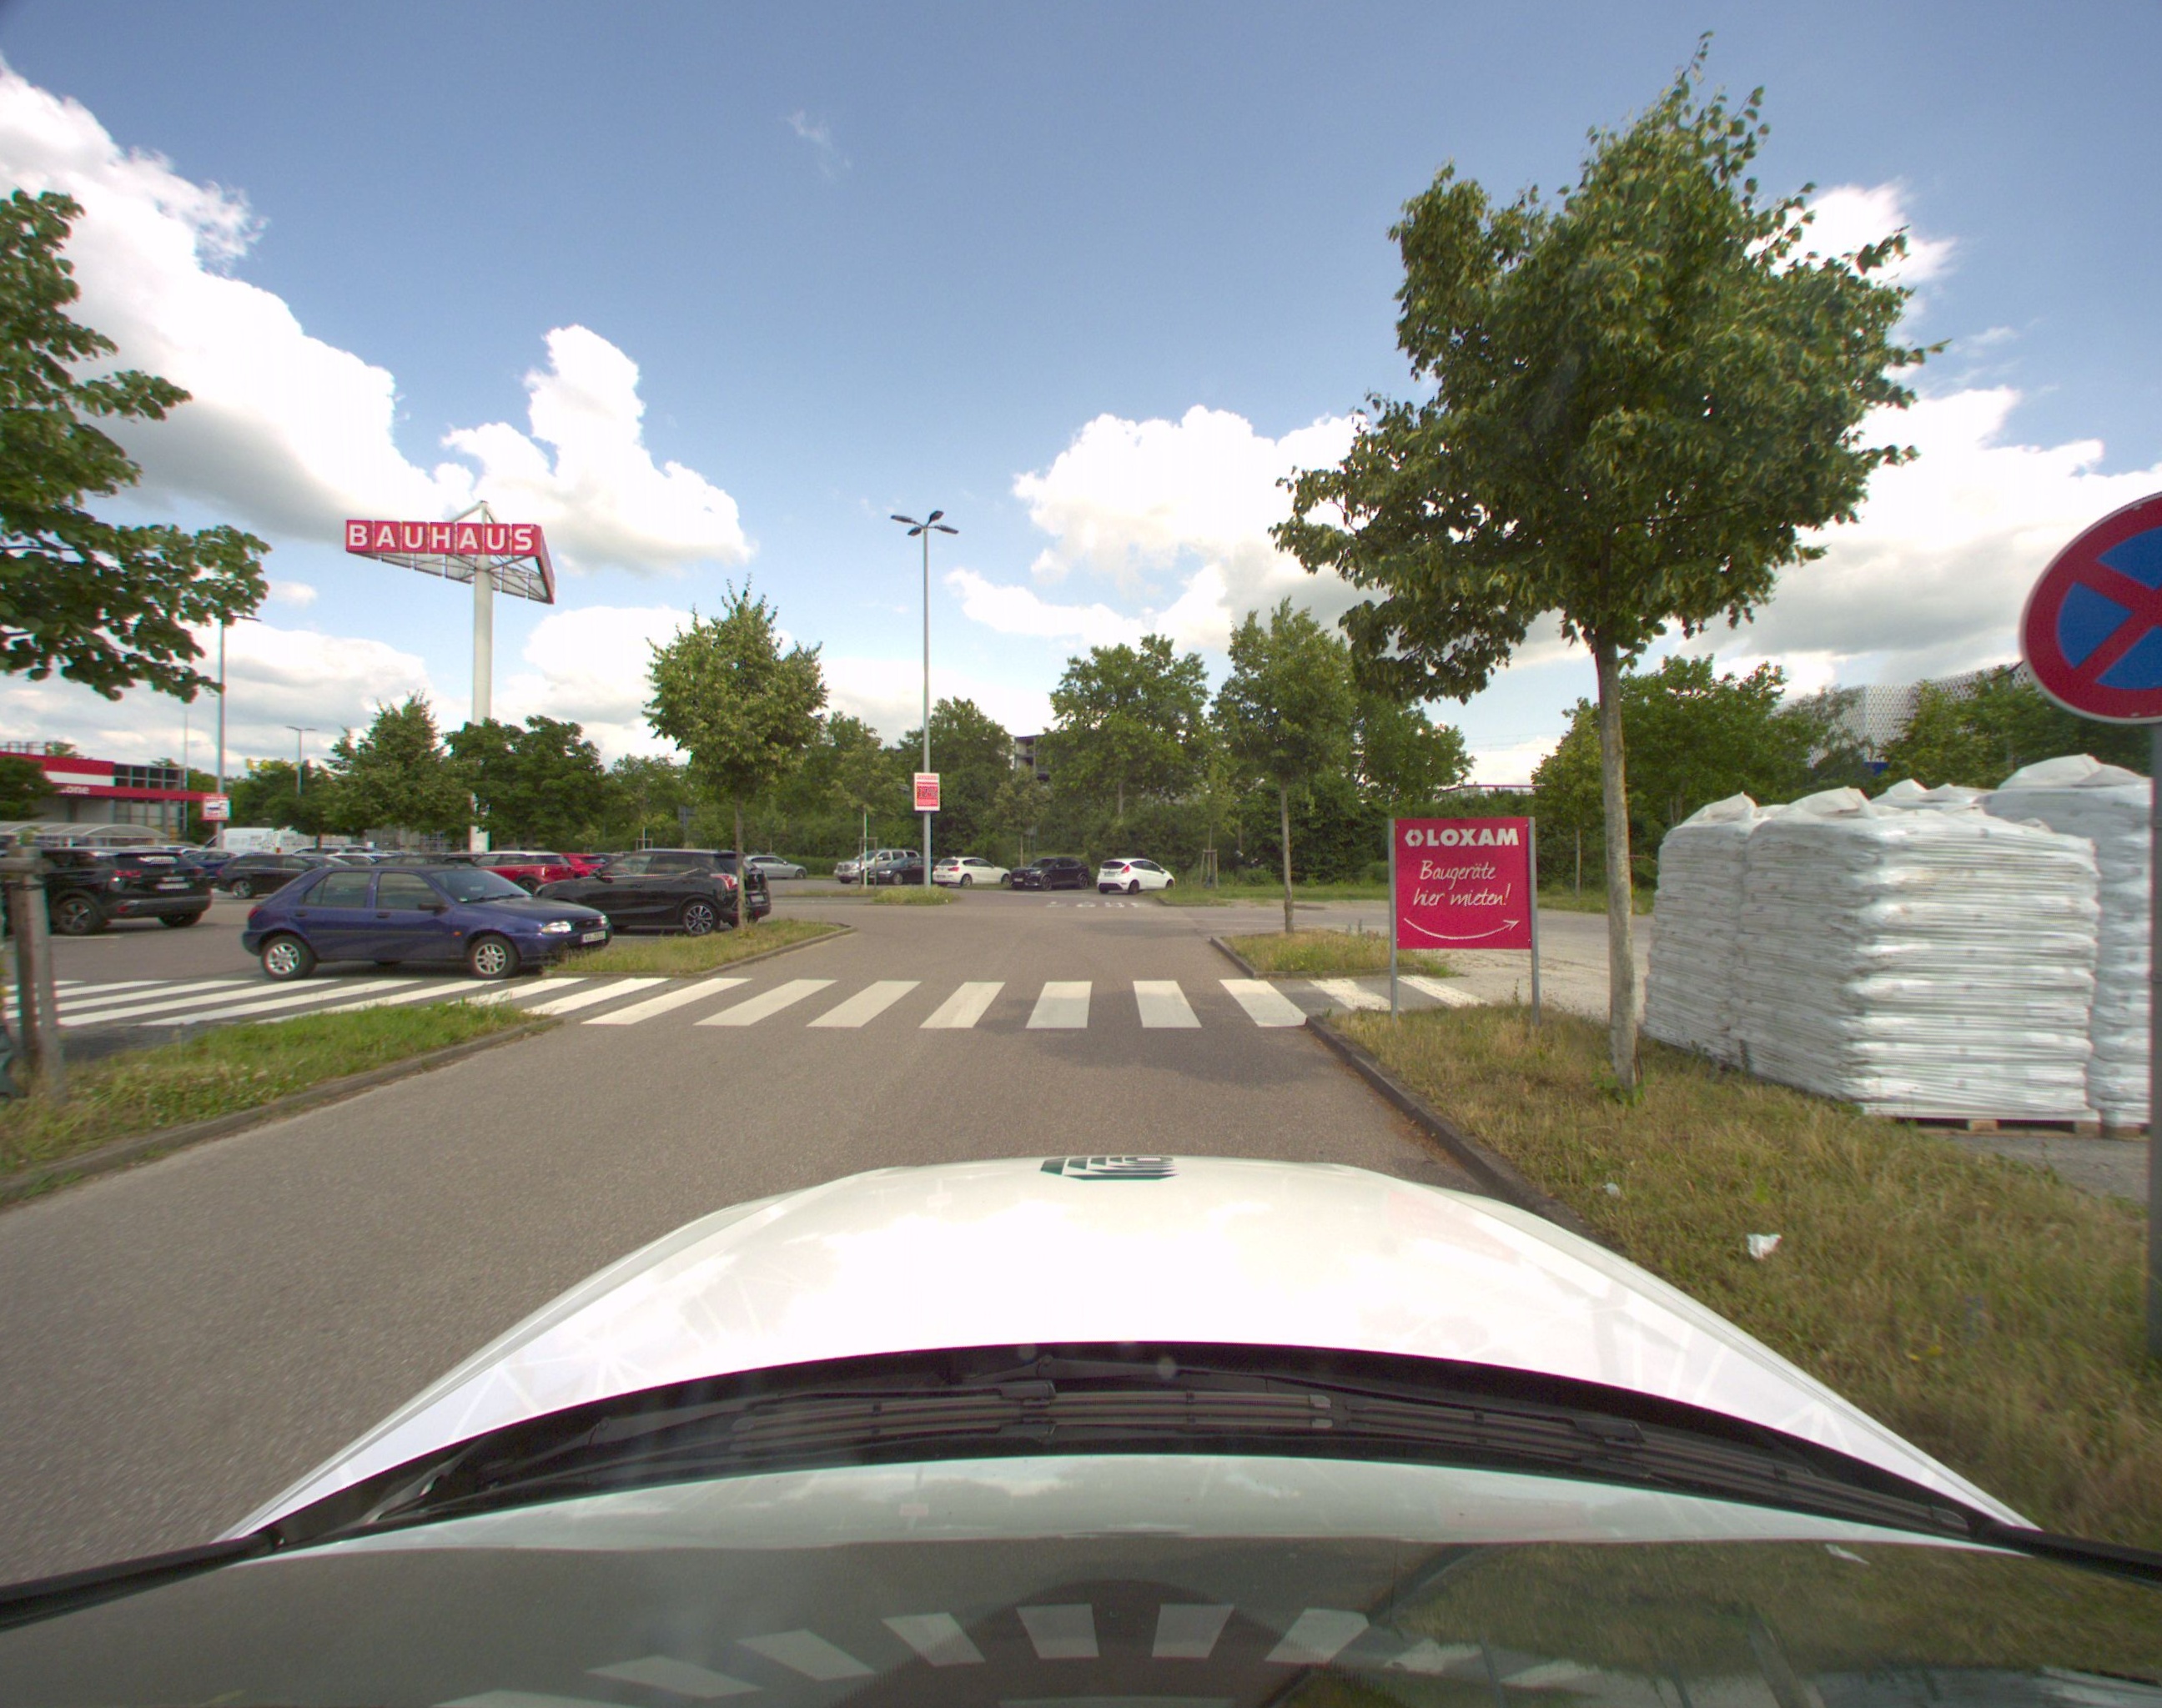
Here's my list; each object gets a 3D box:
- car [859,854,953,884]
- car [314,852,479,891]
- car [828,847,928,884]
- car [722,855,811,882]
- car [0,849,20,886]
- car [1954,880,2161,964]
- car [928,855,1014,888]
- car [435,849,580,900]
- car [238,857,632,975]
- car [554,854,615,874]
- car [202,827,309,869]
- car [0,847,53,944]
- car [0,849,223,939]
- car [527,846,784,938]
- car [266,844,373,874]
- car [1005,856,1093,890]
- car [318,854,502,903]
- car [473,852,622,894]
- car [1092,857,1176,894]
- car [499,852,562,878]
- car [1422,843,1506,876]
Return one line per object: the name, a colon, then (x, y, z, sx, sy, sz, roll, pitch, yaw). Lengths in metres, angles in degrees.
car: (-8.975, 0.749, 42.188, 1.816, 1.451, 4.755, 0, 0, 37)
car: (-24.517, 0.603, 29.288, 4.255, 1.353, 1.893, 0, 0, -2)
car: (-10.803, 0.573, 43.729, 1.965, 1.842, 5.181, 0, 0, 35)
car: (-18.577, 0.810, 48.285, 1.761, 1.504, 4.684, 0, 0, 35)
car: (-53.411, 0.647, 38.948, 3.146, 1.743, 1.602, 0, 1, 0)
car: (18.374, 1.172, 14.351, 3.741, 1.321, 1.621, 0, 0, 24)
car: (-5.244, 0.816, 39.240, 1.668, 1.509, 4.107, -1, -1, 39)
car: (-18.476, 0.644, 26.337, 3.425, 1.581, 1.709, 0, 0, -1)
car: (-8.074, 0.735, 10.421, 3.737, 1.368, 1.622, 0, 0, 1)
car: (-38.321, 0.765, 62.944, 1.612, 1.468, 3.667, -2, -1, 36)
car: (-53.083, -0.367, 52.418, 4.696, 2.510, 2.053, 1, -1, 1)
car: (-19.939, 0.692, 13.346, 3.688, 1.624, 1.781, 0, 0, -4)
car: (-19.474, 0.714, 15.621, 4.058, 1.624, 1.783, 0, 0, -1)
car: (-7.941, 0.671, 15.436, 3.933, 1.624, 1.737, 0, 0, 3)
car: (-41.710, 0.279, 44.674, 3.975, 1.596, 1.910, 0, 0, -1)
car: (-1.373, 0.812, 36.729, 1.711, 1.410, 4.270, 0, 0, 36)
car: (-19.526, 0.692, 23.826, 3.862, 1.369, 1.727, 0, 0, -3)
car: (-18.848, 0.652, 28.892, 4.063, 1.399, 1.766, 0, 0, -1)
car: (2.227, 0.837, 33.687, 1.649, 1.411, 3.579, 0, 0, 40)
car: (-43.415, 0.890, 64.324, 1.931, 2.019, 4.064, 0, -2, 6)
car: (20.989, 0.265, 44.657, 3.948, 1.715, 2.013, 0, 0, 34)
